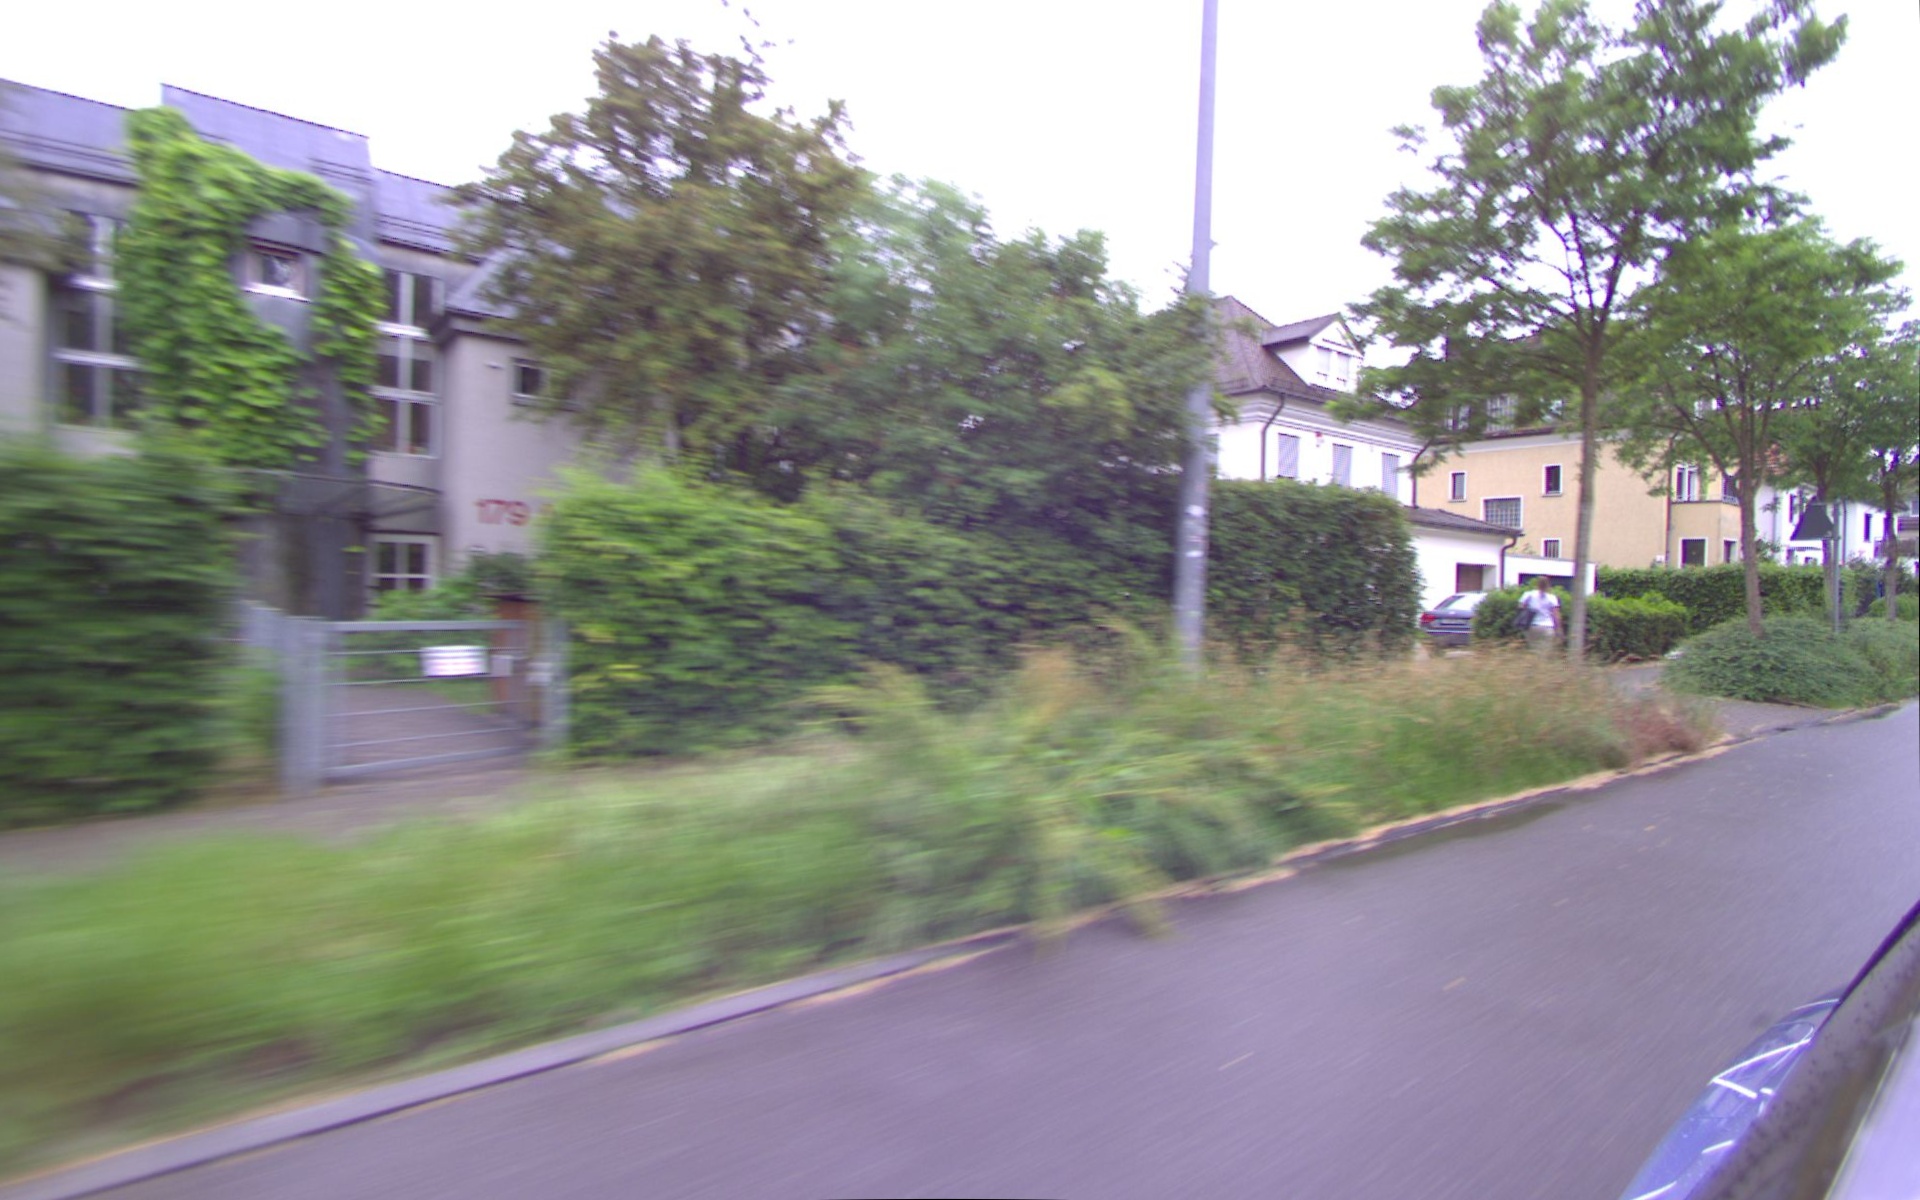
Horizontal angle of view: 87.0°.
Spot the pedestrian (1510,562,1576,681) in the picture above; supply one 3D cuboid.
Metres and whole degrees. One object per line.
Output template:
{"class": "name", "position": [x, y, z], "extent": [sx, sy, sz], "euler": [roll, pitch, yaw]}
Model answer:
{"class": "pedestrian", "position": [8.817, 0.302, 15.310], "extent": [0.701, 1.753, 0.635], "euler": [-2, 2, -36]}

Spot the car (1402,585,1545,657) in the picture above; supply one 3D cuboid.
{"class": "car", "position": [11.146, 0.406, 21.895], "extent": [3.412, 1.437, 1.474], "euler": [0, 0, -38]}
